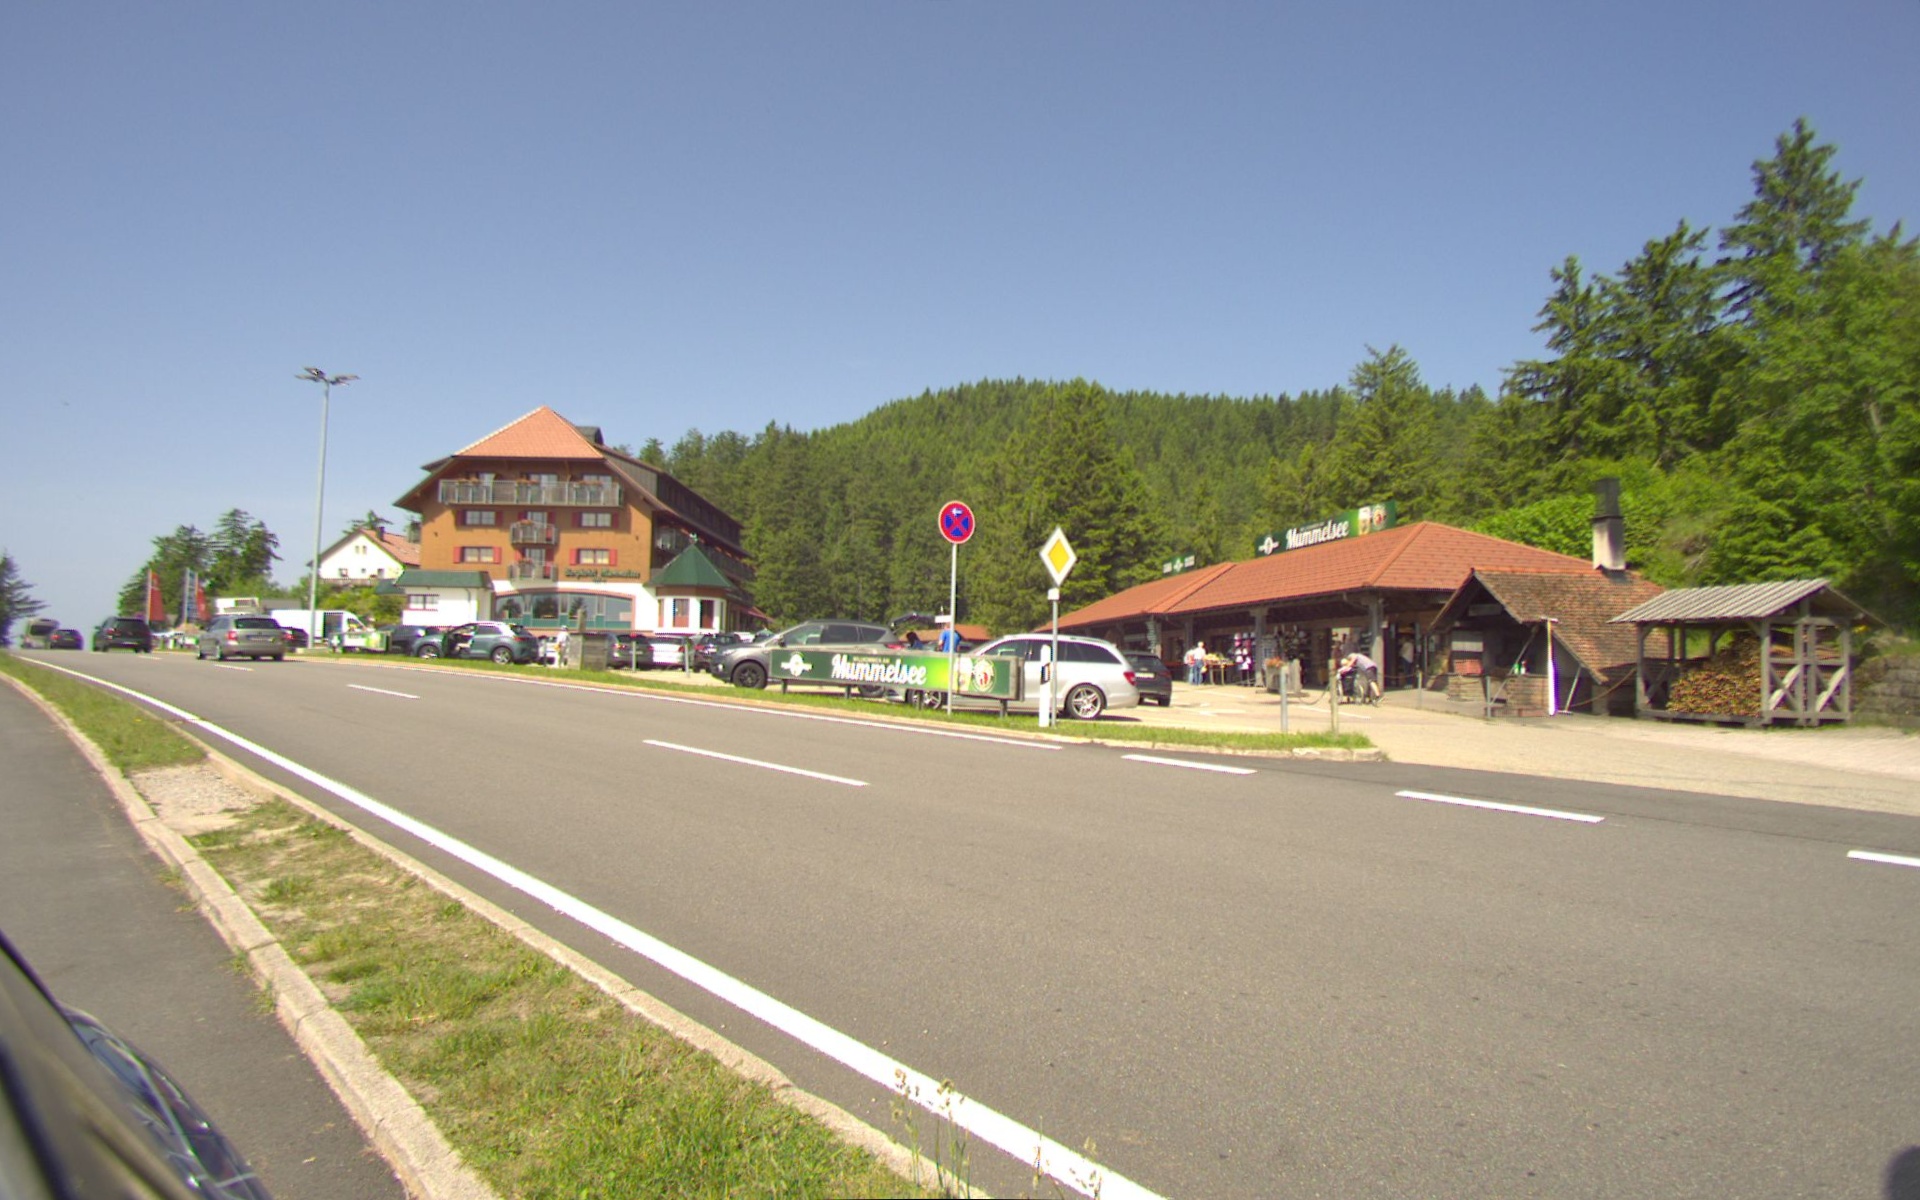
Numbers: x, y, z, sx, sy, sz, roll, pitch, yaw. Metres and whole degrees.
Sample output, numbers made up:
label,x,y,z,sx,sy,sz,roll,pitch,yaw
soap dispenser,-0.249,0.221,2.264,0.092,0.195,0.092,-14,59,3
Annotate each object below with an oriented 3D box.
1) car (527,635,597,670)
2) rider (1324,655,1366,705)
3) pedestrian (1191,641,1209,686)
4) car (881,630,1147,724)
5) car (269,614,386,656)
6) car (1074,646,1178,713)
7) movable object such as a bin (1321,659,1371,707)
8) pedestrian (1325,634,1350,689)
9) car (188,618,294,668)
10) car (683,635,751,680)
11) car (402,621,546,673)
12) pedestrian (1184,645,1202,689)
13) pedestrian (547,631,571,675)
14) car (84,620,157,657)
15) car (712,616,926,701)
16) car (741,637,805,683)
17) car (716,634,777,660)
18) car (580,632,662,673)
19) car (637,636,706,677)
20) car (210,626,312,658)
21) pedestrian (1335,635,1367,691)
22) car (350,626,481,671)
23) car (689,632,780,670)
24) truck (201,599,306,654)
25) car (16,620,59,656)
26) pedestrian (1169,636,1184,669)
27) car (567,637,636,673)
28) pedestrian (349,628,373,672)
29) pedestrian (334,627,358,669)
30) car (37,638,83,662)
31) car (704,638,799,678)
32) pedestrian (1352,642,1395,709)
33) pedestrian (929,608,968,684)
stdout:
label,x,y,z,sx,sy,sz,roll,pitch,yaw
car,-18.610,2.467,47.499,1.797,1.524,4.096,2,-3,-2
rider,10.387,2.156,27.311,0.829,1.284,0.907,1,-2,6
pedestrian,9.142,2.412,38.517,0.499,1.668,0.472,1,-2,-13
car,0.864,1.332,17.856,4.434,1.441,1.724,2,-3,-5
car,-45.288,2.520,72.750,6.845,2.812,2.675,3,-3,-29
car,4.440,2.098,27.633,1.971,1.541,4.001,3,-2,-2
movable object such as a bin,10.443,2.234,27.414,0.972,1.198,1.214,1,-2,6
pedestrian,12.304,1.994,32.964,0.555,1.750,0.663,-1,-3,40
car,-23.277,1.339,32.699,4.714,1.485,1.859,-1,-2,43
car,-9.563,2.265,40.082,1.797,1.641,4.096,2,-3,-2
car,-17.211,1.671,36.004,4.206,1.641,1.826,2,-3,-4
pedestrian,8.980,2.581,38.983,0.499,1.668,0.472,1,-2,-13
pedestrian,-15.307,2.017,38.637,0.733,1.637,0.685,2,-3,-18
car,-39.387,1.797,47.446,4.567,1.660,1.972,-1,-3,43
car,-3.096,1.295,22.516,4.482,1.668,1.724,2,-3,-6
car,-7.131,2.282,38.909,1.797,1.641,4.096,2,-3,-2
car,-15.464,3.409,73.506,4.034,1.729,1.922,2,-3,-3
car,-12.948,1.970,38.517,1.694,1.441,4.008,4,-3,-37
car,-11.859,2.316,41.889,1.797,1.524,4.096,2,-3,-2
car,-37.202,2.242,53.921,4.030,1.539,1.827,2,-3,-8
pedestrian,12.359,1.983,32.036,0.740,1.750,0.802,1,-2,6
car,-21.817,1.956,40.680,4.206,1.641,1.826,2,-3,-4
car,-10.820,2.452,48.865,4.033,1.641,1.826,2,-3,-4
truck,-52.617,2.055,75.725,2.837,3.850,9.035,0,-2,-10
car,-74.464,3.068,81.642,5.917,2.772,1.989,-1,-3,43
pedestrian,9.631,2.340,45.029,0.537,1.442,0.473,1,-2,-5
car,-16.296,2.483,46.197,1.797,1.524,4.096,2,-3,-2
pedestrian,-28.403,2.365,47.995,0.802,2.029,0.707,-1,-3,41
pedestrian,-30.240,2.357,49.847,0.802,2.029,0.707,-1,-3,41
car,-58.975,3.245,66.286,4.448,1.449,1.688,-1,-3,42
car,-9.467,2.627,46.164,4.033,1.641,1.826,2,-3,-4
pedestrian,10.748,1.948,26.343,0.829,1.712,0.802,1,-2,6
pedestrian,-0.268,1.030,22.768,0.734,1.648,0.848,2,-3,-7
